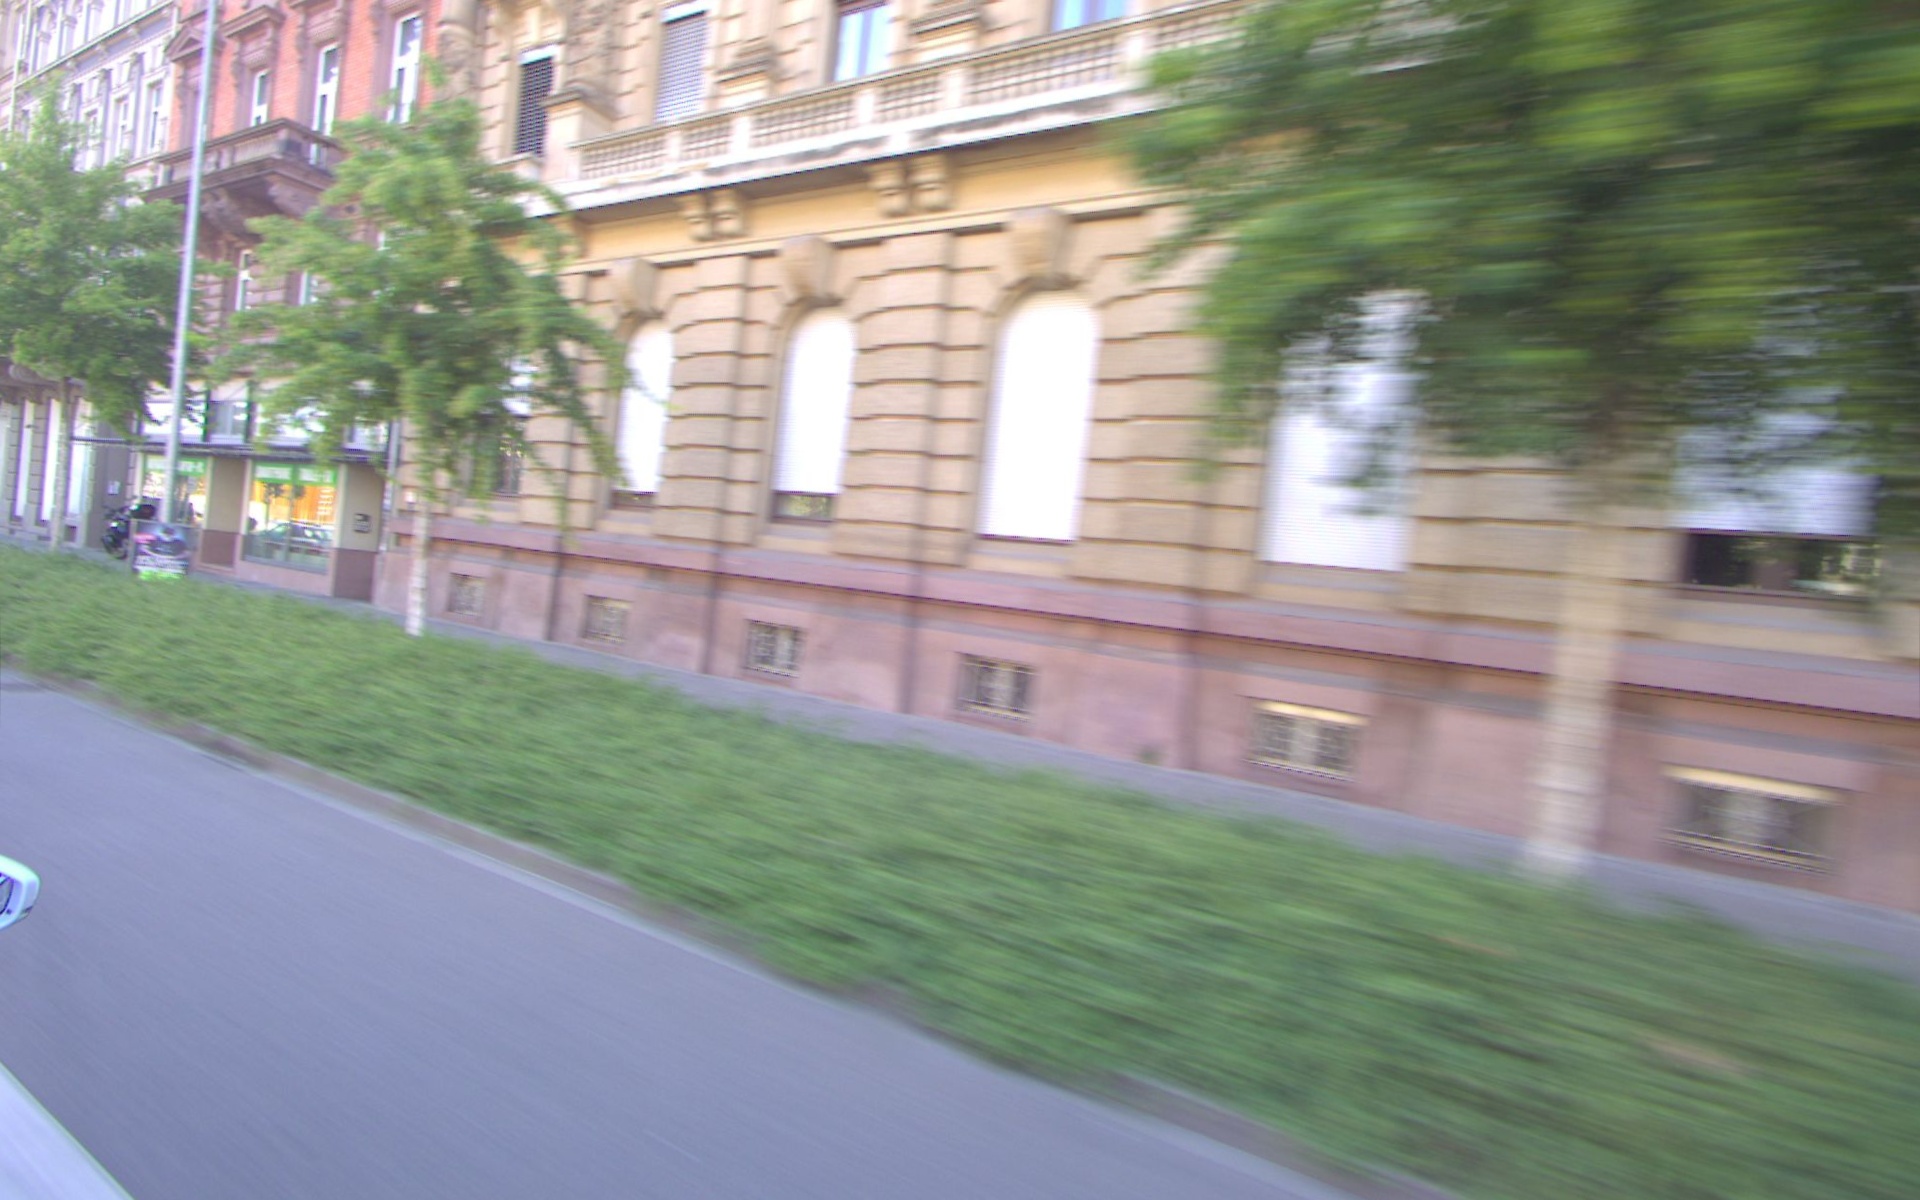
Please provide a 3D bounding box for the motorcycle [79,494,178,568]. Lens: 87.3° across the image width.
[{"bbox_3d":[-18.288,-1.533,22.102,2.804,1.326,0.795,8,4,32],"label":"motorcycle"}]
